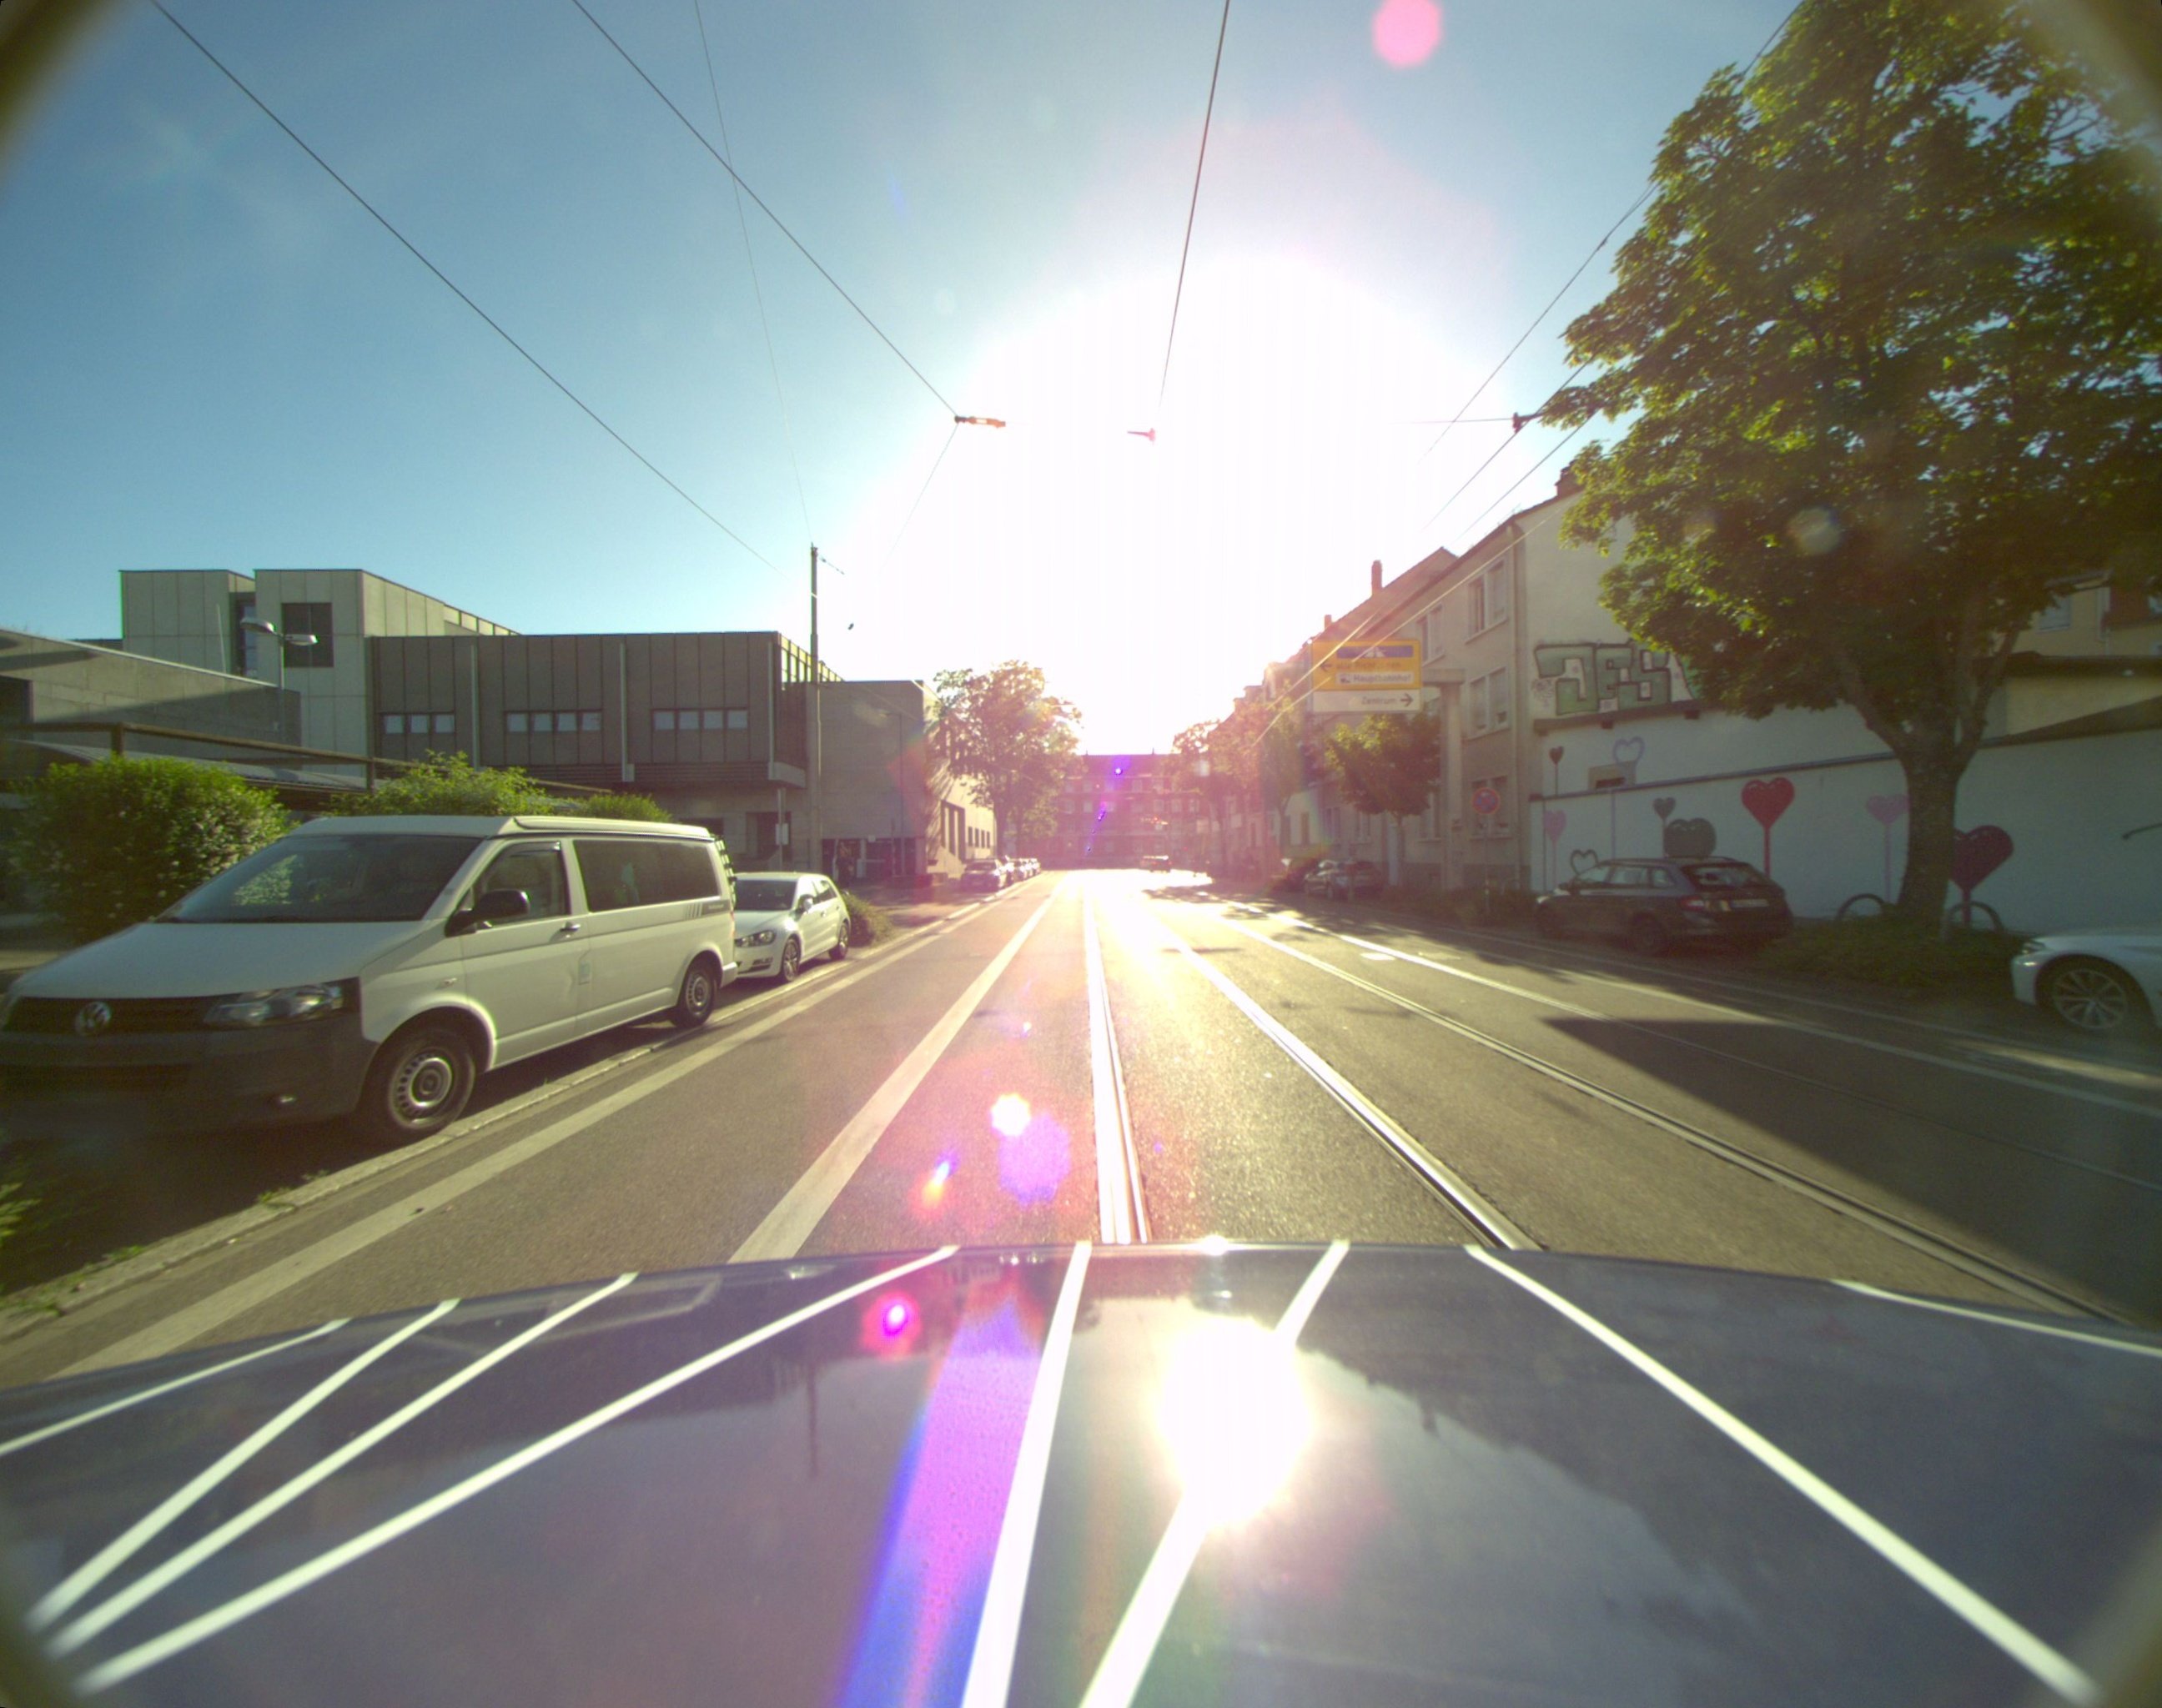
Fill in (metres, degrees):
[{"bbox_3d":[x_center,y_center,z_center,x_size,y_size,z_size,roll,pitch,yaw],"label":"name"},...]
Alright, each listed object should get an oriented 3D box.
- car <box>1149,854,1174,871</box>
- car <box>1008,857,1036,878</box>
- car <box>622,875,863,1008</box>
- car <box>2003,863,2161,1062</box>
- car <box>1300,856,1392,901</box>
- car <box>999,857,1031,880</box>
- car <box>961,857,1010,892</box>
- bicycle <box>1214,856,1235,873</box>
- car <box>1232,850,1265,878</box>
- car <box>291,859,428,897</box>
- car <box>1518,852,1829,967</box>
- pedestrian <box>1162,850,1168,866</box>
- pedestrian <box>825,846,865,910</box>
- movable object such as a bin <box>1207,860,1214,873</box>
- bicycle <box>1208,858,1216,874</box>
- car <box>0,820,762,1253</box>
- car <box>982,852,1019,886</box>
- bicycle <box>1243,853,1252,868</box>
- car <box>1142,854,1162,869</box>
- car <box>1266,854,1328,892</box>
[{"bbox_3d":[7.321,0.755,69.474,1.770,1.455,4.746,0,1,-1],"label":"car"},{"bbox_3d":[-4.300,0.974,55.759,1.713,1.399,4.328,1,1,0],"label":"car"},{"bbox_3d":[-4.717,1.120,11.378,1.680,1.409,4.501,1,1,-1],"label":"car"},{"bbox_3d":[9.327,0.866,4.587,1.869,1.482,4.661,-2,1,0],"label":"car"},{"bbox_3d":[9.518,0.831,27.668,1.878,1.420,4.292,-2,1,1],"label":"car"},{"bbox_3d":[-4.298,0.916,49.927,1.717,1.481,4.623,0,0,0],"label":"car"},{"bbox_3d":[-4.571,0.929,36.881,1.707,1.473,4.658,2,1,0],"label":"car"},{"bbox_3d":[9.908,0.722,52.378,1.344,1.163,0.409,-2,1,1],"label":"bicycle"},{"bbox_3d":[9.870,0.613,44.826,1.358,1.493,2.548,-2,-2,1],"label":"car"},{"bbox_3d":[-31.552,1.027,33.319,4.084,1.465,1.901,-2,1,0],"label":"car"},{"bbox_3d":[9.355,0.755,12.557,1.777,1.477,4.304,-2,1,0],"label":"car"},{"bbox_3d":[9.698,0.458,87.667,0.640,1.764,0.583,-2,1,0],"label":"pedestrian"},{"bbox_3d":[-6.874,0.684,22.192,0.672,1.779,1.304,3,1,0],"label":"pedestrian"},{"bbox_3d":[9.419,0.934,55.350,0.425,0.930,0.582,-2,1,1],"label":"movable object such as a bin"},{"bbox_3d":[9.281,0.853,53.879,0.303,1.036,1.661,-2,1,1],"label":"bicycle"},{"bbox_3d":[-4.694,0.820,6.105,1.858,1.980,5.242,-1,1,2],"label":"car"},{"bbox_3d":[-4.443,0.789,42.388,1.746,1.702,4.276,-1,1,-2],"label":"car"},{"bbox_3d":[12.238,0.462,55.769,0.303,1.036,1.661,-2,1,1],"label":"bicycle"},{"bbox_3d":[7.836,0.779,84.229,1.923,1.516,4.000,-2,1,1],"label":"car"},{"bbox_3d":[9.445,0.793,33.460,1.576,1.496,4.000,-2,1,1],"label":"car"}]
